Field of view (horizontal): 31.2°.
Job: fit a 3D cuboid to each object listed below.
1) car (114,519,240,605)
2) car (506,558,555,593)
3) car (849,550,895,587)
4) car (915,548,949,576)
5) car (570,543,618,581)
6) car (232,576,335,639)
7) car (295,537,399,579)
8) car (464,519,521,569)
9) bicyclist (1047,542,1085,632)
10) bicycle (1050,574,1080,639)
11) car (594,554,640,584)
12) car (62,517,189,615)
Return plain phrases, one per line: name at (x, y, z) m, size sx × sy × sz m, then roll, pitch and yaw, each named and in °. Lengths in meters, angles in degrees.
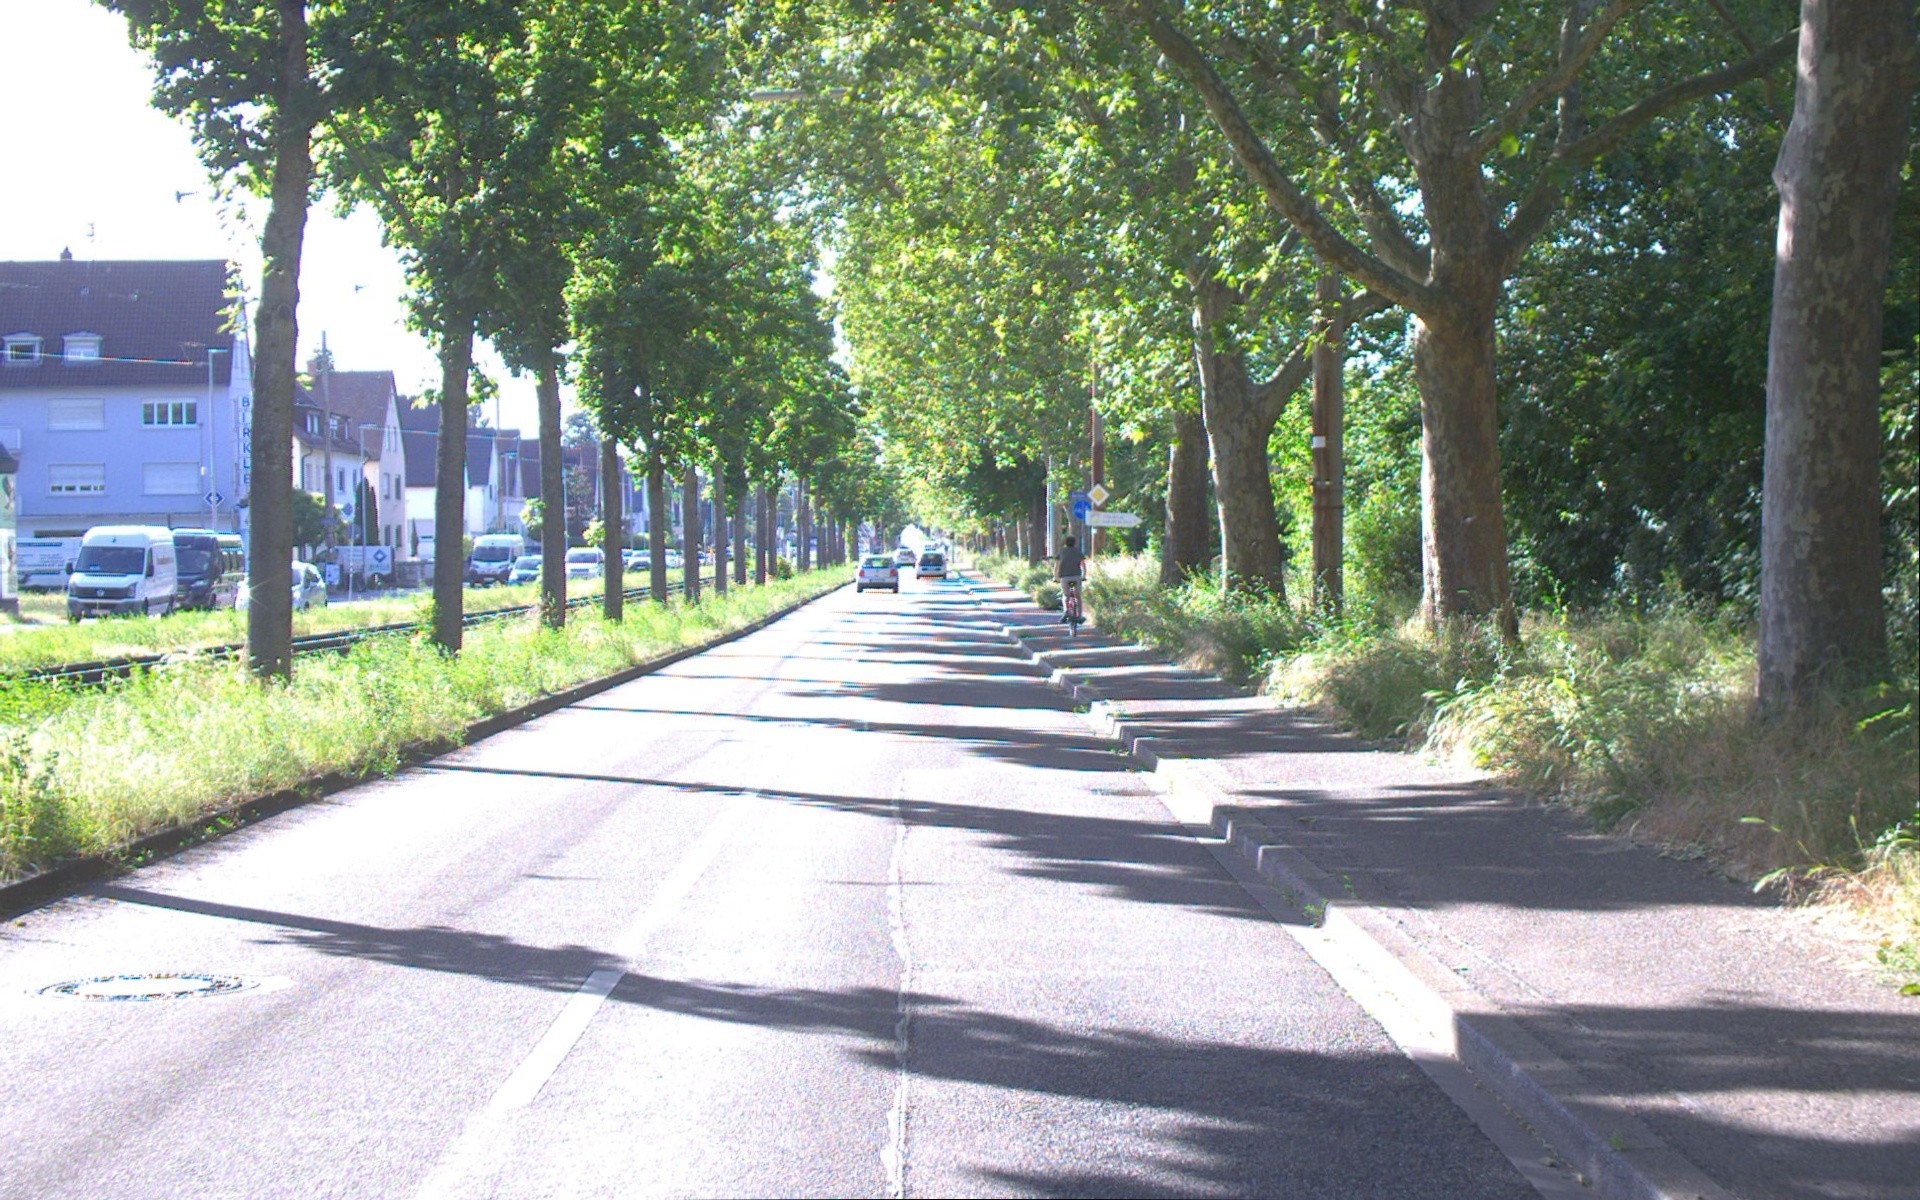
car at (-22.496, -1.090, 99.001) m, size 2.182 × 2.368 × 6.465 m, roll 1°, pitch 1°, yaw 0°
car at (-17.679, -1.005, 141.566) m, size 1.557 × 1.390 × 3.821 m, roll 1°, pitch 1°, yaw -1°
car at (-3.394, -1.210, 133.238) m, size 1.738 × 1.396 × 3.277 m, roll 1°, pitch 1°, yaw -1°
car at (-1.506, -2.063, 186.605) m, size 1.761 × 1.508 × 3.277 m, roll 1°, pitch 1°, yaw 0°
car at (-17.436, -1.801, 163.972) m, size 1.810 × 1.738 × 4.982 m, roll 1°, pitch 1°, yaw 0°
car at (-17.163, 0.174, 87.355) m, size 1.727 × 1.523 × 4.442 m, roll 1°, pitch 1°, yaw 0°
car at (-28.060, -1.931, 157.338) m, size 4.616 × 1.939 × 2.001 m, roll 0°, pitch 1°, yaw -11°
car at (-23.211, -2.763, 170.827) m, size 1.993 × 2.451 × 6.675 m, roll 1°, pitch 1°, yaw -1°
bicyclist at (1.922, -0.242, 62.562) m, size 0.613 × 1.623 × 0.909 m, roll -1°, pitch 1°, yaw -1°
bicycle at (1.911, 0.104, 62.584) m, size 0.440 × 1.149 × 1.823 m, roll -1°, pitch 1°, yaw -1°
car at (-17.907, -1.636, 179.647) m, size 1.993 × 1.526 × 3.751 m, roll -1°, pitch 1°, yaw 1°
car at (-22.175, -0.905, 91.580) m, size 2.001 × 2.488 × 6.138 m, roll 1°, pitch 1°, yaw -1°
